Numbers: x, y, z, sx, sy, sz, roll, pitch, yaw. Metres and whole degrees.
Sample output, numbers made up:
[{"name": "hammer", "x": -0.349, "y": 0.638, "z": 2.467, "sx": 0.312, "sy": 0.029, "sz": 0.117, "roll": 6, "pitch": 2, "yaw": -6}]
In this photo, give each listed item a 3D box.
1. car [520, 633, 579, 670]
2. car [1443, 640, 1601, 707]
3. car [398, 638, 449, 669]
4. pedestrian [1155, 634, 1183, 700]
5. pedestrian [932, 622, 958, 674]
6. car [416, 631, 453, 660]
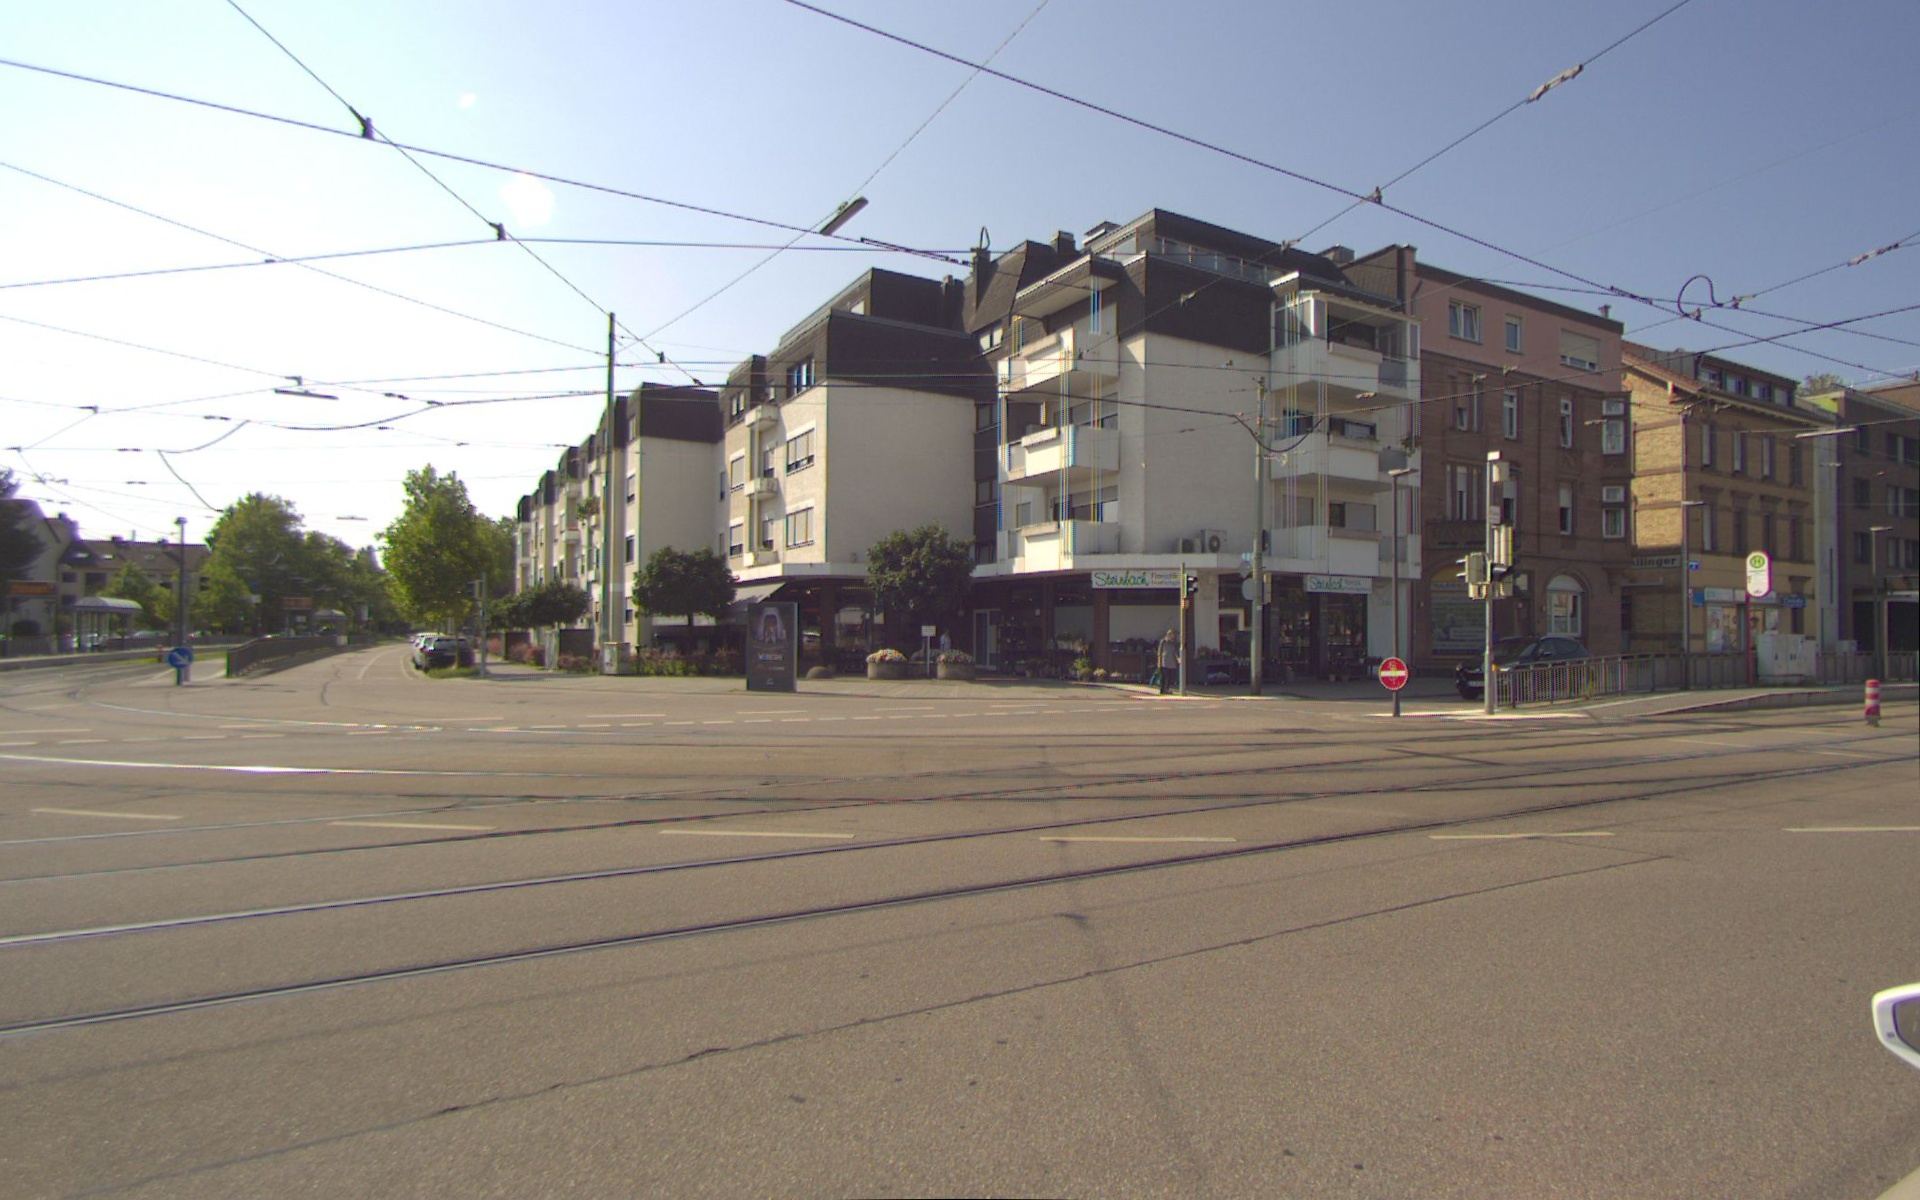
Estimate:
[{"name": "car", "x": -18.458, "y": 2.278, "z": 45.085, "sx": 1.907, "sy": 1.527, "sz": 4.090, "roll": 2, "pitch": -2, "yaw": -30}, {"name": "car", "x": 15.134, "y": 1.954, "z": 27.027, "sx": 4.197, "sy": 1.676, "sz": 1.806, "roll": 2, "pitch": -4, "yaw": -30}, {"name": "car", "x": -24.070, "y": 2.408, "z": 45.001, "sx": 1.655, "sy": 1.316, "sz": 4.087, "roll": 2, "pitch": -4, "yaw": -33}, {"name": "pedestrian", "x": 5.653, "y": 1.817, "z": 27.203, "sx": 0.589, "sy": 1.768, "sz": 0.565, "roll": -2, "pitch": -4, "yaw": 27}, {"name": "pedestrian", "x": -0.520, "y": 1.649, "z": 34.630, "sx": 0.689, "sy": 1.763, "sz": 0.677, "roll": 2, "pitch": -4, "yaw": -29}, {"name": "car", "x": -29.563, "y": 2.579, "z": 56.428, "sx": 1.653, "sy": 1.500, "sz": 3.888, "roll": 2, "pitch": -4, "yaw": -30}]
